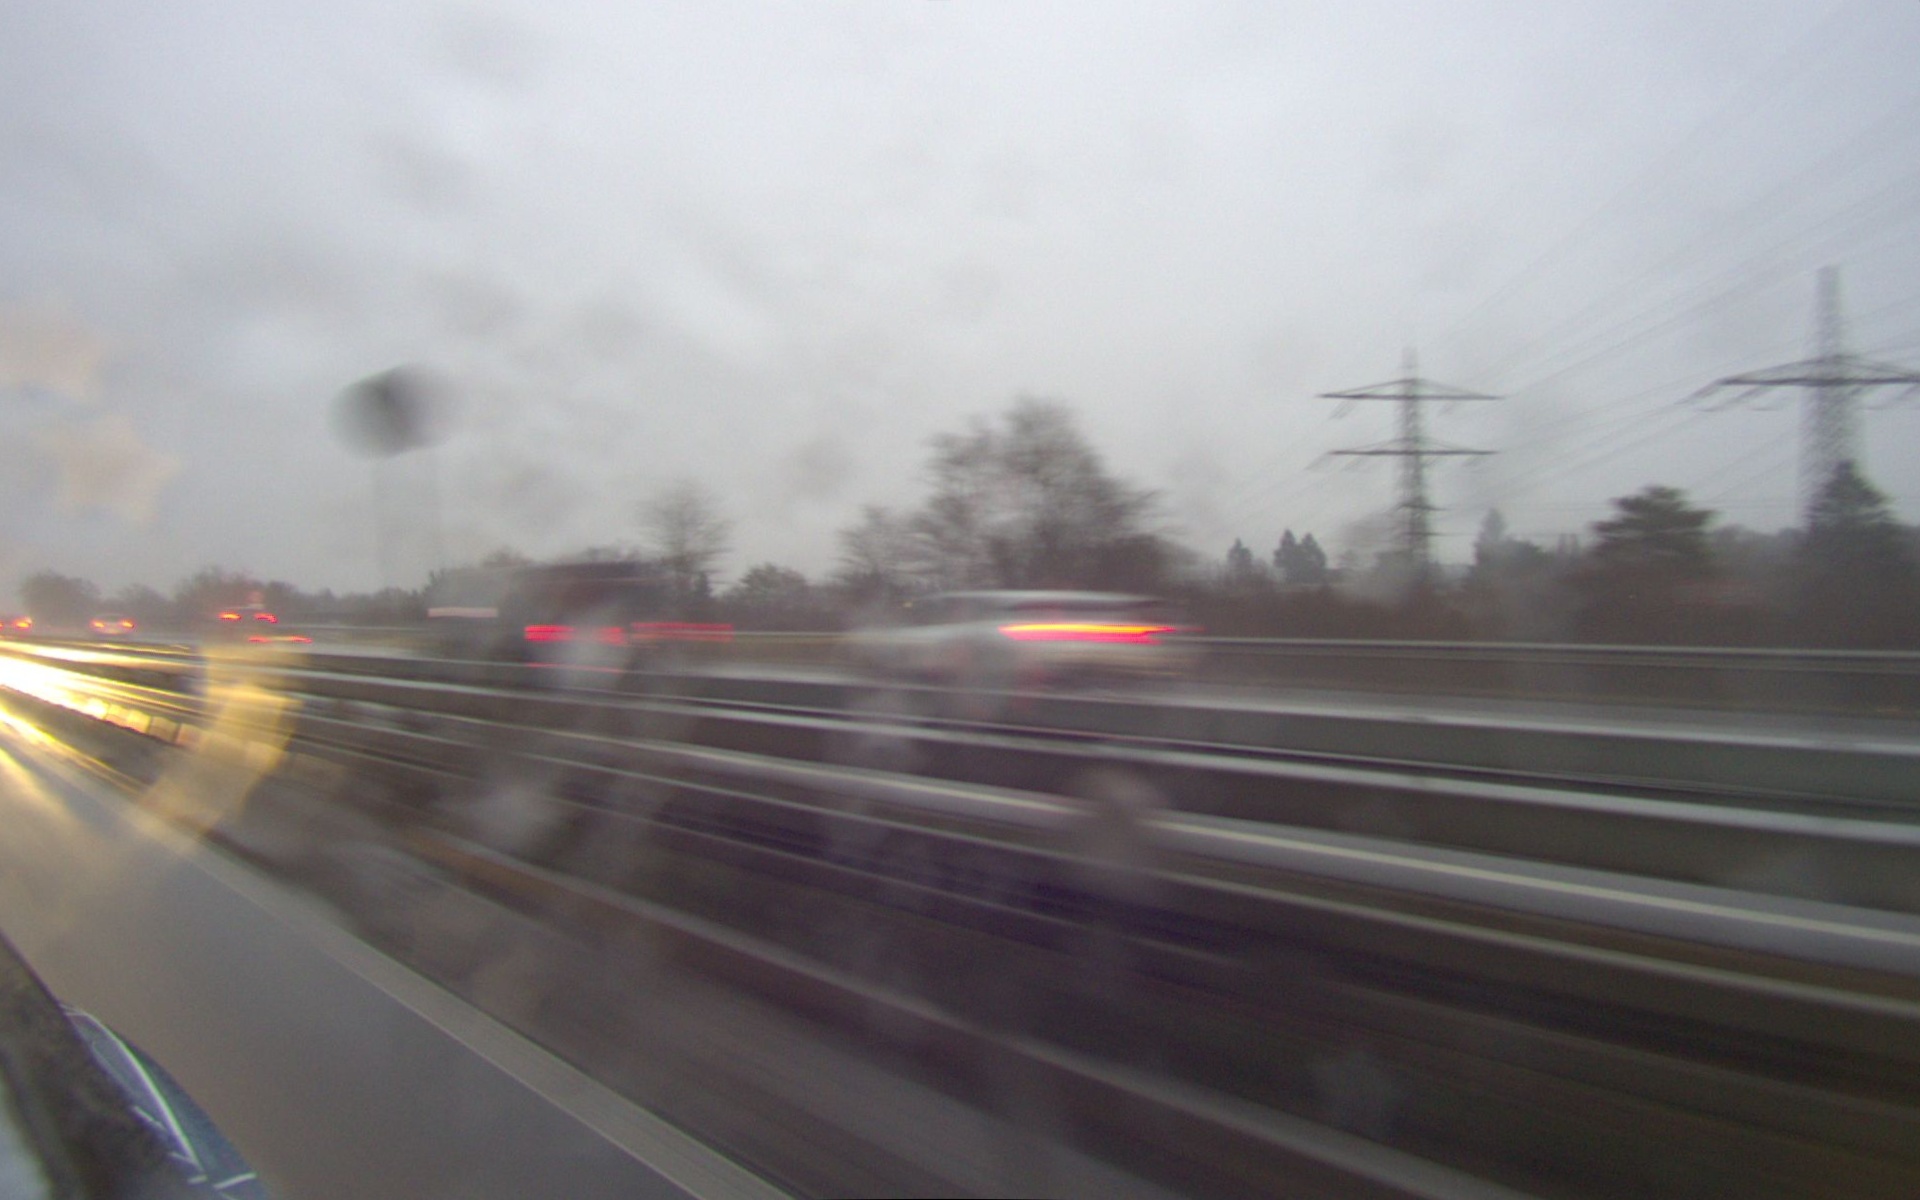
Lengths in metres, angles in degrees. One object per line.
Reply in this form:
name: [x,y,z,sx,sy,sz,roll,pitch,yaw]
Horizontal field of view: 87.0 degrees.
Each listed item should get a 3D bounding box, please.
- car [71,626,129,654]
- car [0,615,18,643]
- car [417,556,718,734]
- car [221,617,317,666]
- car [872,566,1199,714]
car: [-51.398,2.425,60.482,4.388,1.563,1.964,-3,-2,40]
car: [-57.911,1.762,60.858,1.796,1.563,4.472,0,-2,-44]
car: [-5.748,0.580,14.518,4.759,2.130,2.049,-1,-1,41]
car: [-27.690,1.624,40.504,4.845,1.805,2.049,-1,-1,41]
car: [0.979,0.521,14.590,4.337,1.805,2.049,-1,-1,41]
